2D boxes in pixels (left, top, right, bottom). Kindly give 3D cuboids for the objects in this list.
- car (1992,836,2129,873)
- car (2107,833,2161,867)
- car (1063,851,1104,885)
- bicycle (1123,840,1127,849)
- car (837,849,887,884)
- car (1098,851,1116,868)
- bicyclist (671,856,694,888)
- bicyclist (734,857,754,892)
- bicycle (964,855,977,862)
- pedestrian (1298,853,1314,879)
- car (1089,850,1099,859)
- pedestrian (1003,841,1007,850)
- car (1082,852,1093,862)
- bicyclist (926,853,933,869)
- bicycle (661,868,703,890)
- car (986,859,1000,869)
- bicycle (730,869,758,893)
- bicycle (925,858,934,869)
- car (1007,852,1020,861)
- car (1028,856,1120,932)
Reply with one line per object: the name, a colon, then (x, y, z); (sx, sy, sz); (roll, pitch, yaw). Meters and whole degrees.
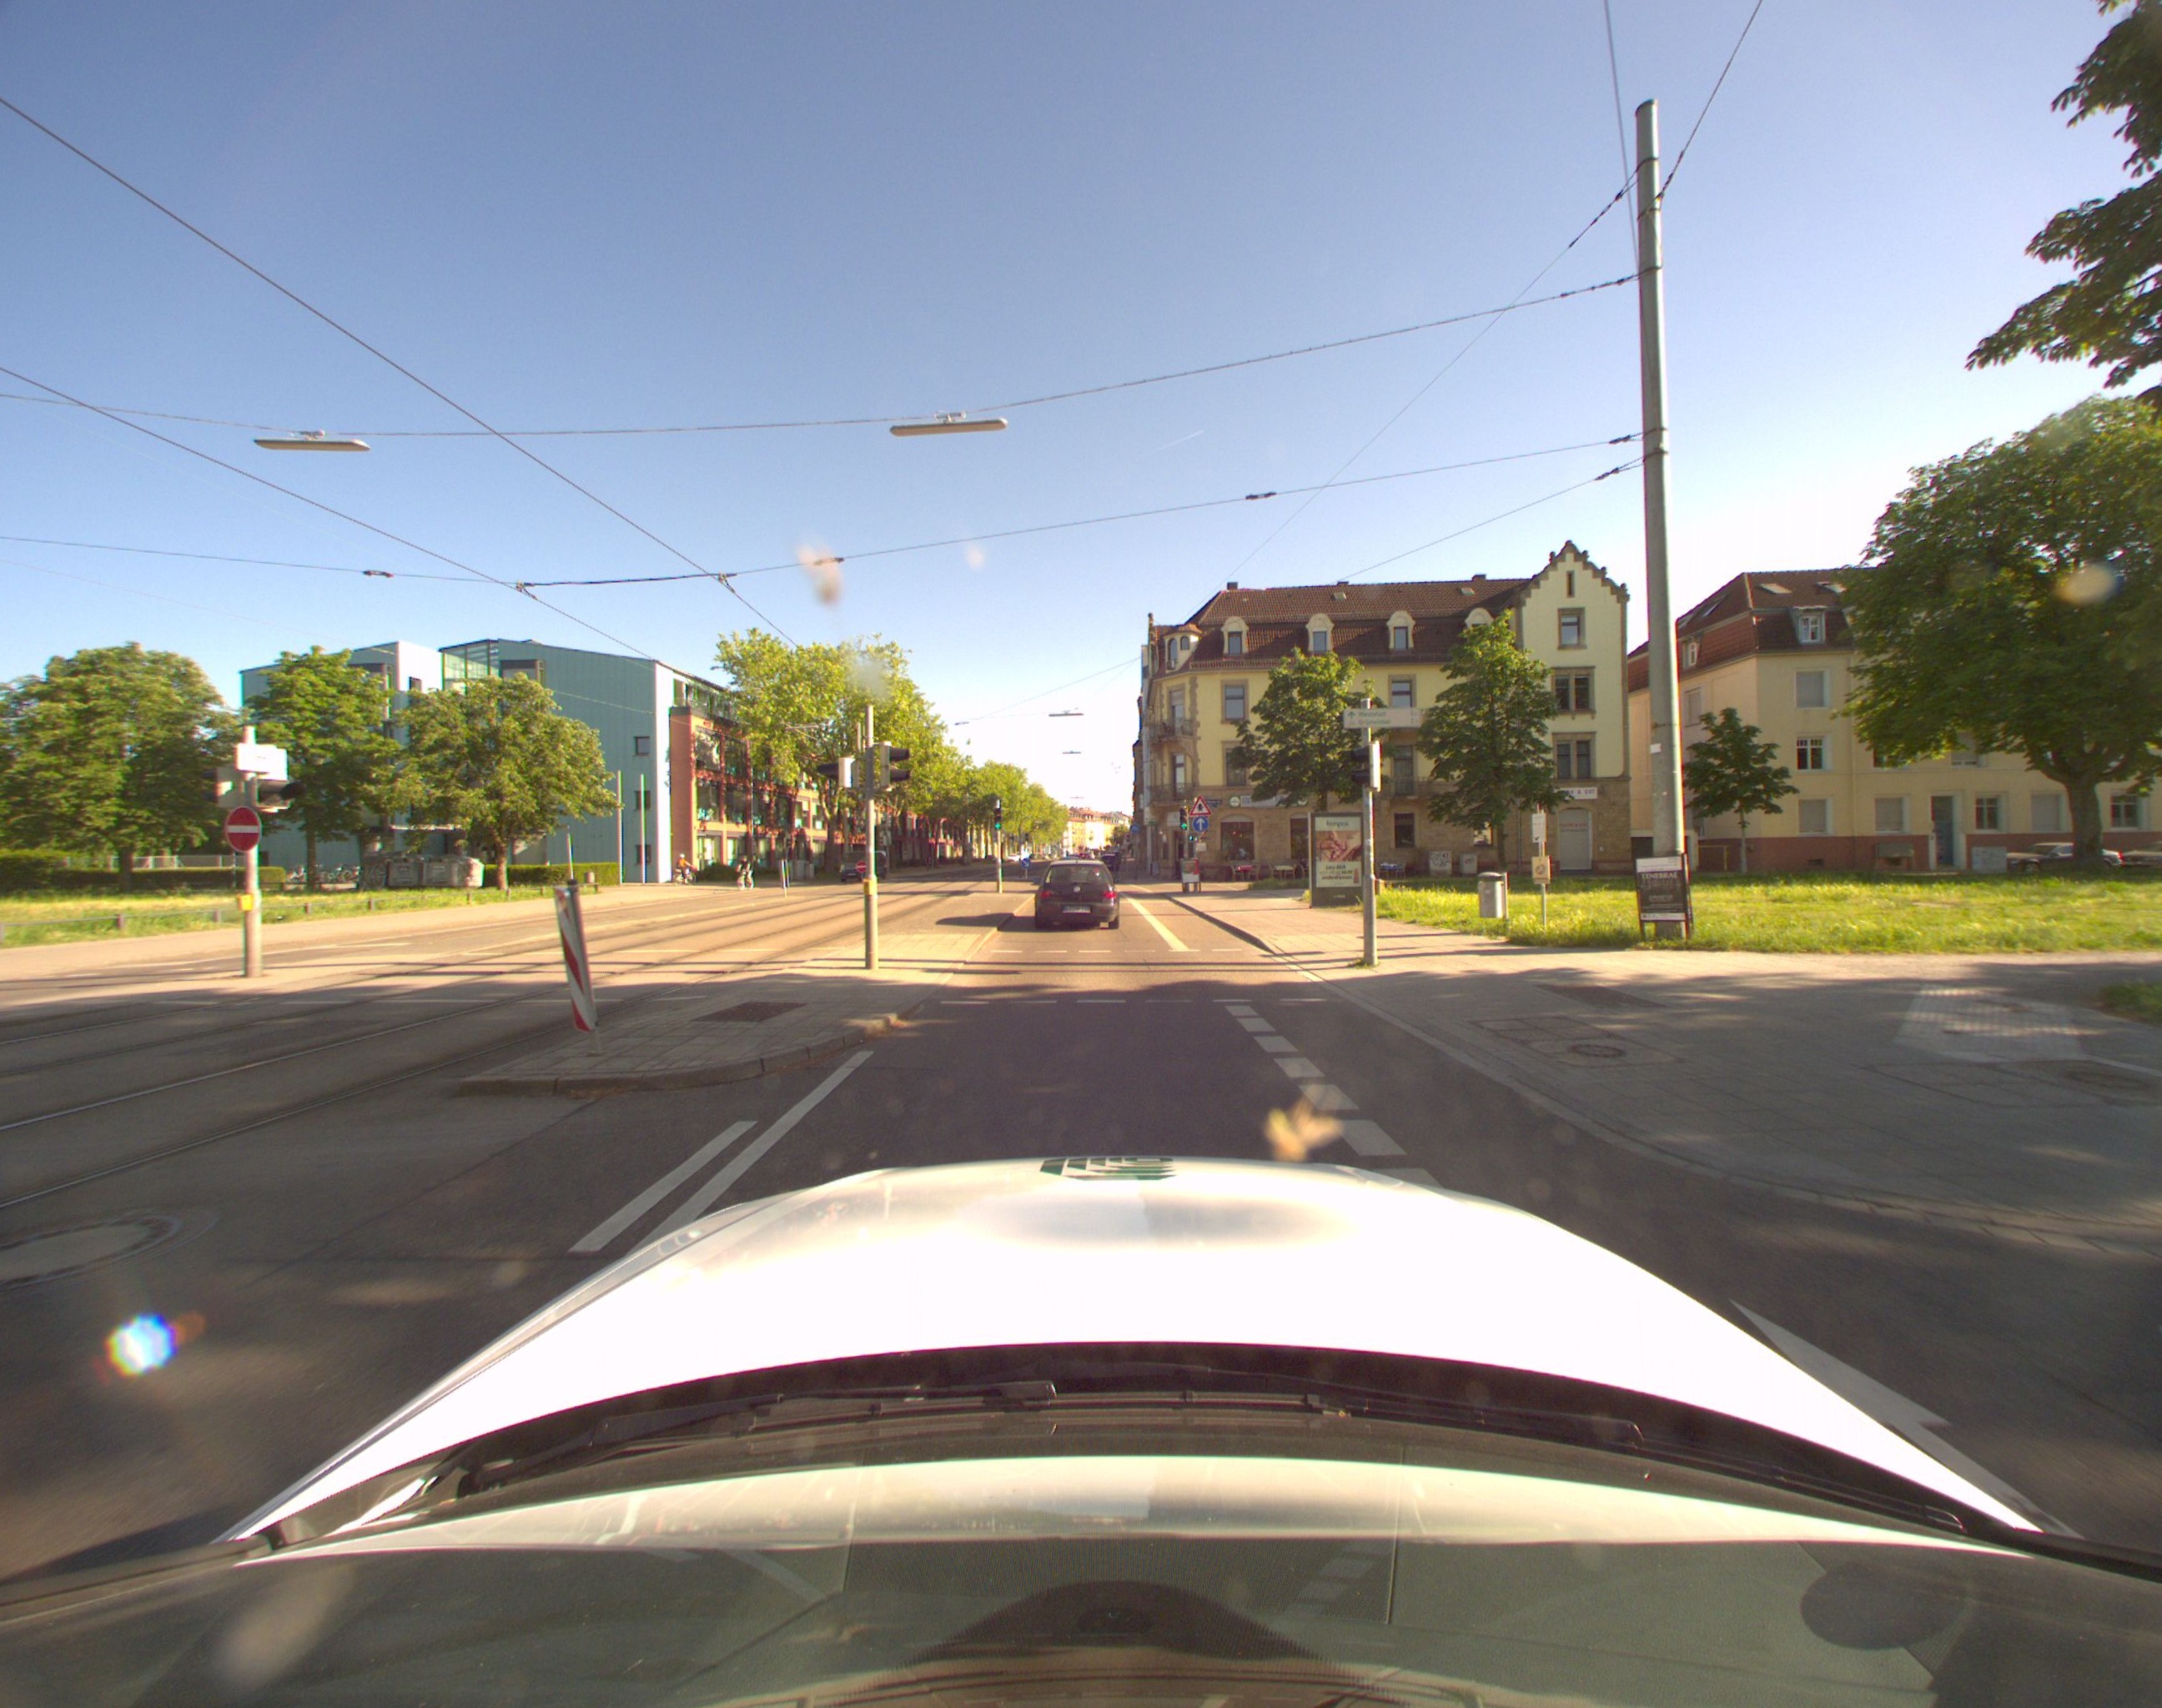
car: (45.259, 0.002, 37.696); (3.820, 1.605, 1.832); (1, 2, 6)
car: (49.877, -0.175, 37.186); (3.676, 1.513, 1.737); (1, 1, 4)
car: (0.167, 0.666, 40.258); (1.741, 1.537, 3.895); (-1, 1, 3)
bicycle: (5.619, -1.264, 104.406); (0.512, 1.139, 2.260); (-3, 1, 3)
car: (-14.370, 0.736, 53.769); (2.015, 2.013, 5.246); (-3, 1, -2)
car: (2.439, 0.493, 75.924); (1.648, 1.482, 4.003); (0, 0, 3)
bicyclist: (-21.834, 0.965, 44.572); (0.599, 1.692, 0.938); (1, 0, 28)
bicyclist: (-17.041, 1.047, 41.179); (0.585, 1.710, 0.901); (-2, 0, 0)
bicycle: (-18.605, 0.761, 137.193); (2.000, 1.278, 0.665); (0, 0, 3)
pedestrian: (11.844, 0.631, 42.908); (0.635, 1.360, 0.702); (1, 0, 4)
car: (2.367, 0.101, 151.049); (1.629, 1.472, 3.732); (-1, 0, 3)
pedestrian: (-16.345, -1.881, 175.795); (0.793, 1.820, 0.671); (1, 0, 3)
car: (1.073, 0.438, 131.150); (1.629, 1.472, 3.732); (-1, 0, 3)
bicyclist: (-15.121, 0.691, 81.243); (0.644, 1.611, 0.779); (1, 0, -6)
bicycle: (-21.832, 1.355, 44.583); (0.626, 1.129, 2.048); (1, 1, 28)
car: (-14.103, 1.654, 130.573); (1.501, 1.454, 3.466); (-2, -2, 3)
bicycle: (-17.017, 1.356, 41.126); (0.585, 1.113, 1.827); (-2, 1, 0)
bicycle: (-15.117, 0.988, 81.255); (0.644, 1.042, 1.922); (1, 1, -5)
car: (-12.777, 0.478, 154.812); (2.004, 1.572, 4.695); (1, 1, 2)
car: (-0.069, 0.776, 17.573); (1.742, 1.375, 4.002); (-1, 1, 2)
